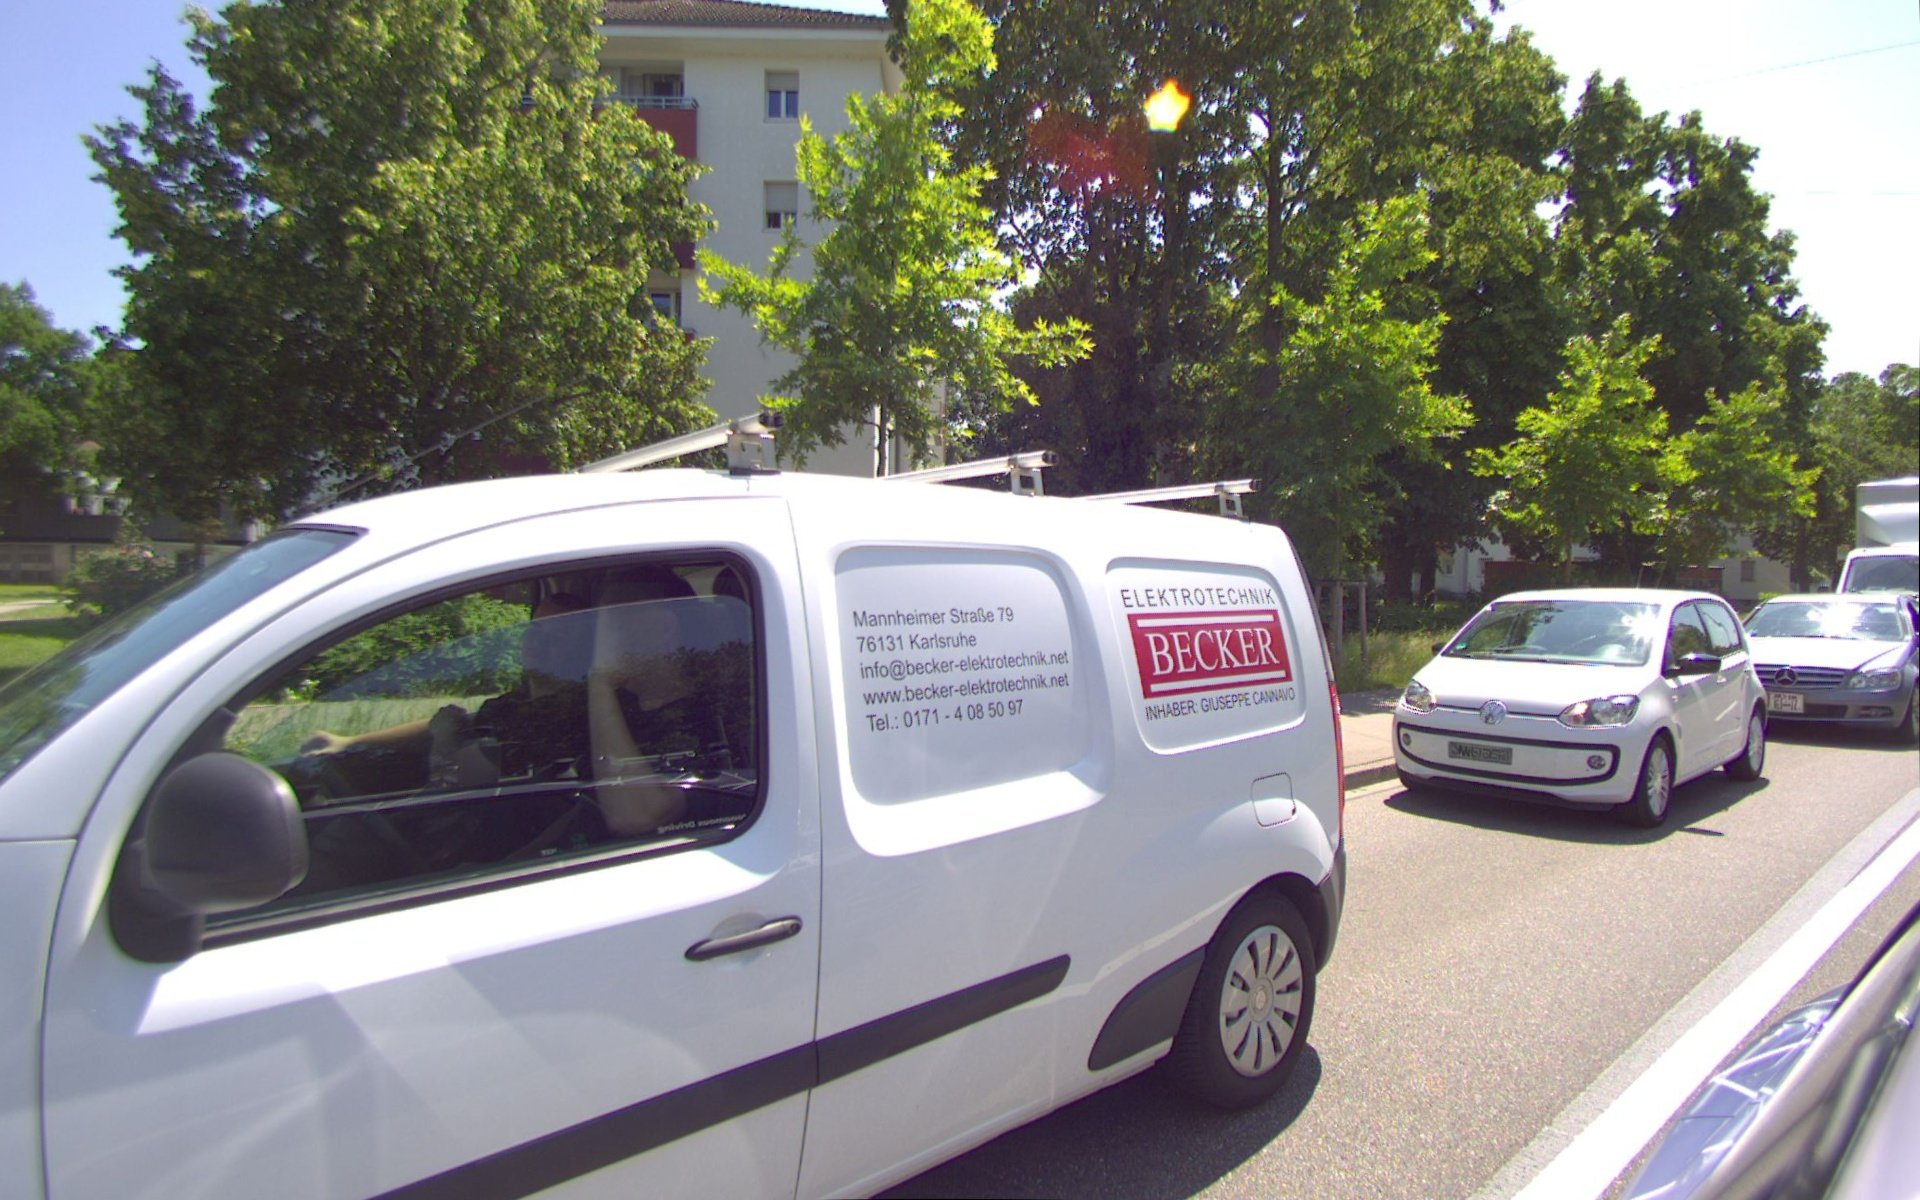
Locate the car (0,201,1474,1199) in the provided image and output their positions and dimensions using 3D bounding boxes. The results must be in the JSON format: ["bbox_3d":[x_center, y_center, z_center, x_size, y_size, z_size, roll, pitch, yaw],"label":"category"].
[{"bbox_3d":[-0.597,0.461,2.786,4.993,1.879,1.808,-1,0,-40],"label":"car"}]

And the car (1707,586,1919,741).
[{"bbox_3d":[9.729,0.551,11.048,4.041,1.398,1.617,-1,1,-40],"label":"car"}]

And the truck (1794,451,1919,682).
[{"bbox_3d":[16.281,-0.516,16.782,6.485,3.337,2.490,-1,2,-39],"label":"truck"}]

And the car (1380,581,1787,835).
[{"bbox_3d":[4.755,0.594,7.557,3.437,1.459,1.625,-1,1,-41],"label":"car"}]
